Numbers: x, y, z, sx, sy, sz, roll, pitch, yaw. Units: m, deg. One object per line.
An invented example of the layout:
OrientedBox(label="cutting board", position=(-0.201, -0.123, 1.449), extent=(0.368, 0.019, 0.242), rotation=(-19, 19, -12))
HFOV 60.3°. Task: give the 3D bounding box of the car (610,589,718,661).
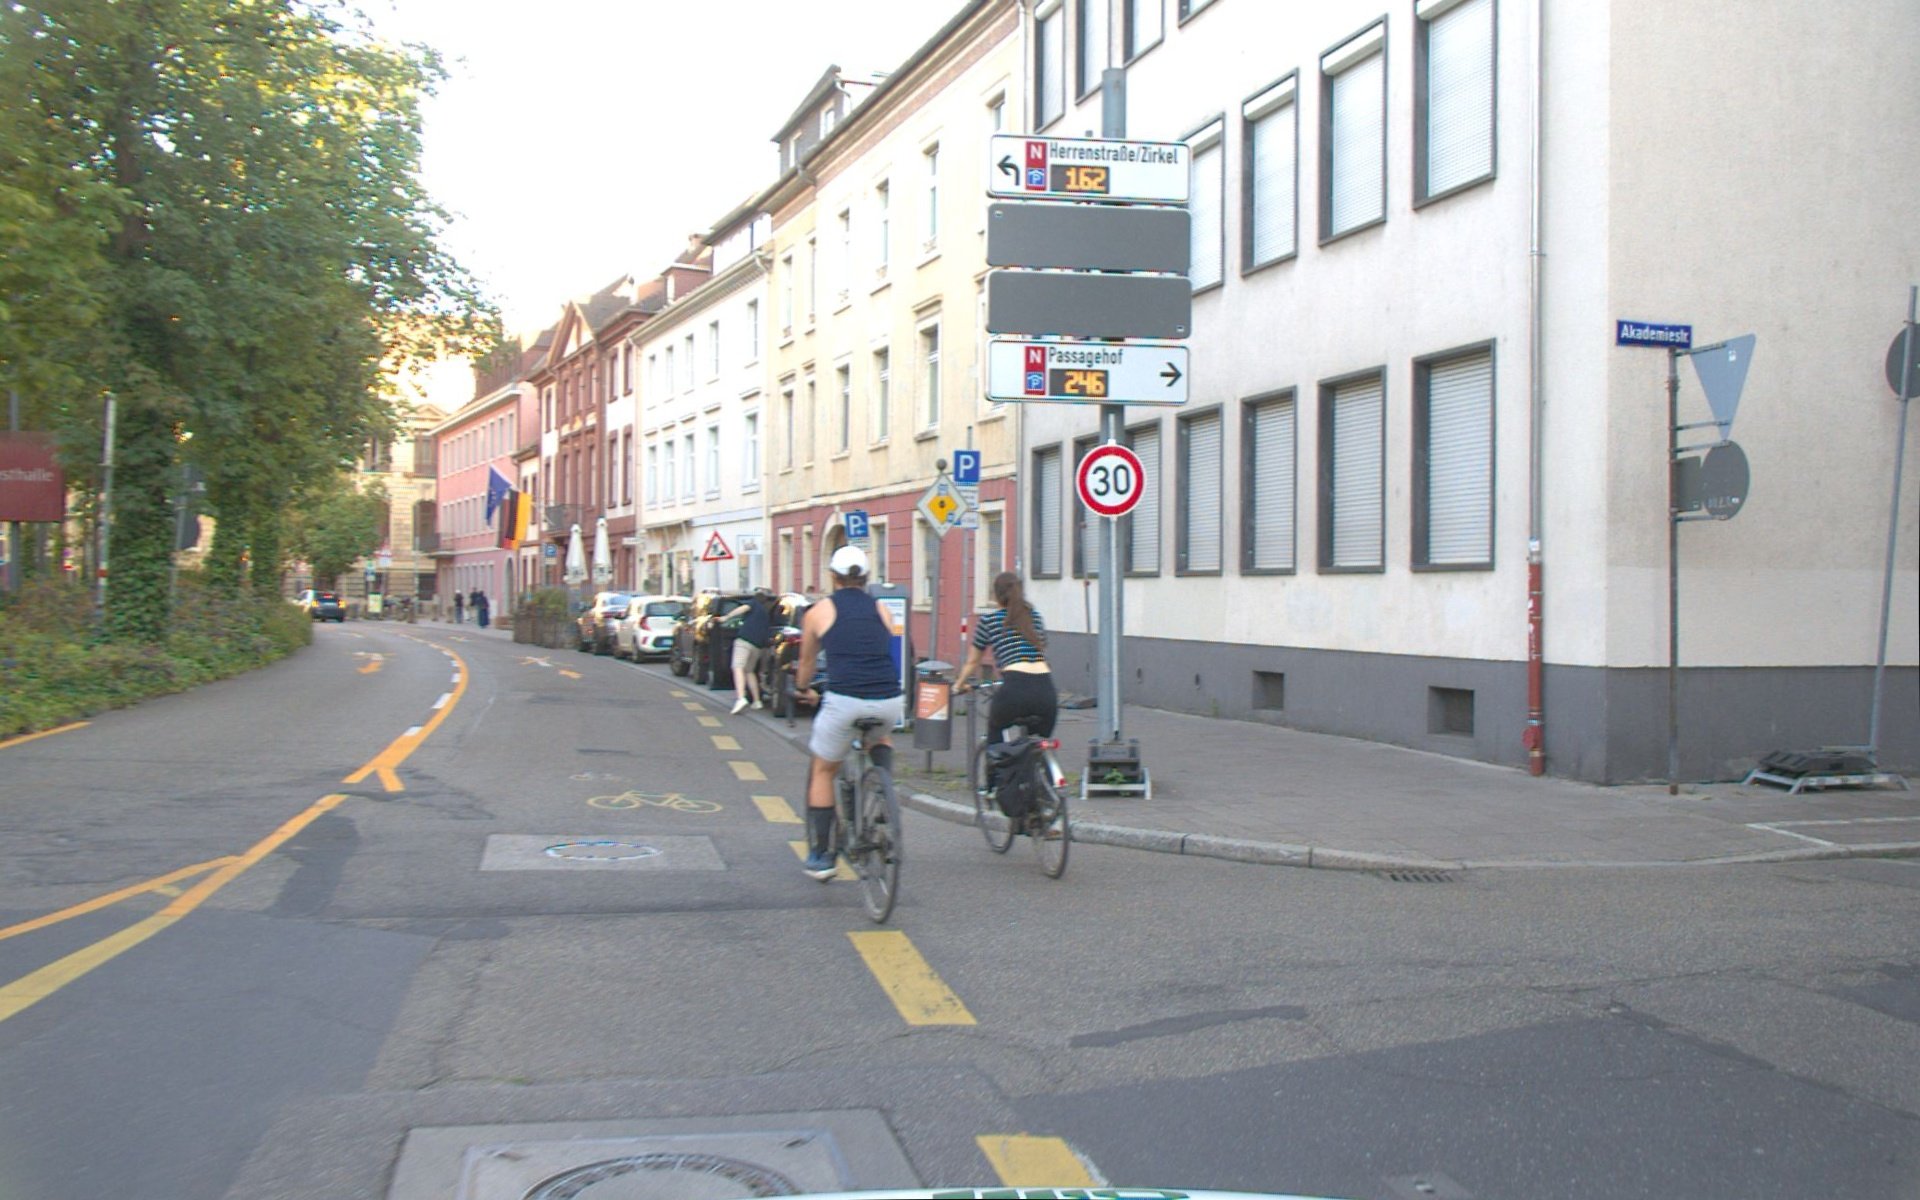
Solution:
OrientedBox(label="car", position=(-6.928, 0.546, 38.434), extent=(1.786, 1.587, 3.841), rotation=(1, 0, -21))

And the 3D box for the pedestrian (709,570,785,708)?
OrientedBox(label="pedestrian", position=(-3.021, 0.542, 23.409), extent=(0.887, 1.898, 0.927), rotation=(1, 0, -20))

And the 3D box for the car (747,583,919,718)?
OrientedBox(label="car", position=(-1.855, 0.642, 23.099), extent=(1.781, 1.712, 3.905), rotation=(1, 0, -14))

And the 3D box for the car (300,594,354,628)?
OrientedBox(label="car", position=(-30.540, 0.526, 79.764), extent=(1.794, 1.587, 3.824), rotation=(1, 0, -31))

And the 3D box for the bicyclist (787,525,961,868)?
OrientedBox(label="bicyclist", position=(-0.432, 0.460, 8.107), extent=(0.658, 1.593, 0.695), rotation=(2, -1, -16))

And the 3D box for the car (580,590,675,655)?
OrientedBox(label="car", position=(-8.582, 0.551, 42.515), extent=(1.786, 1.587, 3.841), rotation=(1, 0, -21))

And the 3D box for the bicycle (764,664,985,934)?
OrientedBox(label="bicycle", position=(-0.479, 0.912, 8.207), extent=(0.659, 1.089, 1.893), rotation=(2, 0, -16))

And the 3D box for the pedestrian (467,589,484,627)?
OrientedBox(label="pedestrian", position=(-22.988, 0.366, 78.461), extent=(0.740, 1.793, 0.581), rotation=(0, 0, -23))

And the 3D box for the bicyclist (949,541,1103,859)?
OrientedBox(label="bicyclist", position=(0.377, 0.568, 9.819), extent=(0.638, 1.791, 0.861), rotation=(2, 0, -14))

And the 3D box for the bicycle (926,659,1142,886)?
OrientedBox(label="bicycle", position=(0.372, 0.949, 9.766), extent=(0.641, 1.089, 2.250), rotation=(2, 0, -13))

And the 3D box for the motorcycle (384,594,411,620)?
OrientedBox(label="motorcycle", position=(-28.370, 0.347, 83.457), extent=(1.028, 1.270, 2.379), rotation=(0, 0, -25))

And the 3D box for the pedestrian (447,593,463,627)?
OrientedBox(label="pedestrian", position=(-23.896, 0.463, 78.259), extent=(0.658, 1.609, 0.581), rotation=(0, 0, -23))

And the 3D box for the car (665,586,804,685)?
OrientedBox(label="car", position=(-4.270, 0.605, 30.846), extent=(1.785, 1.713, 3.977), rotation=(1, 0, -20))
